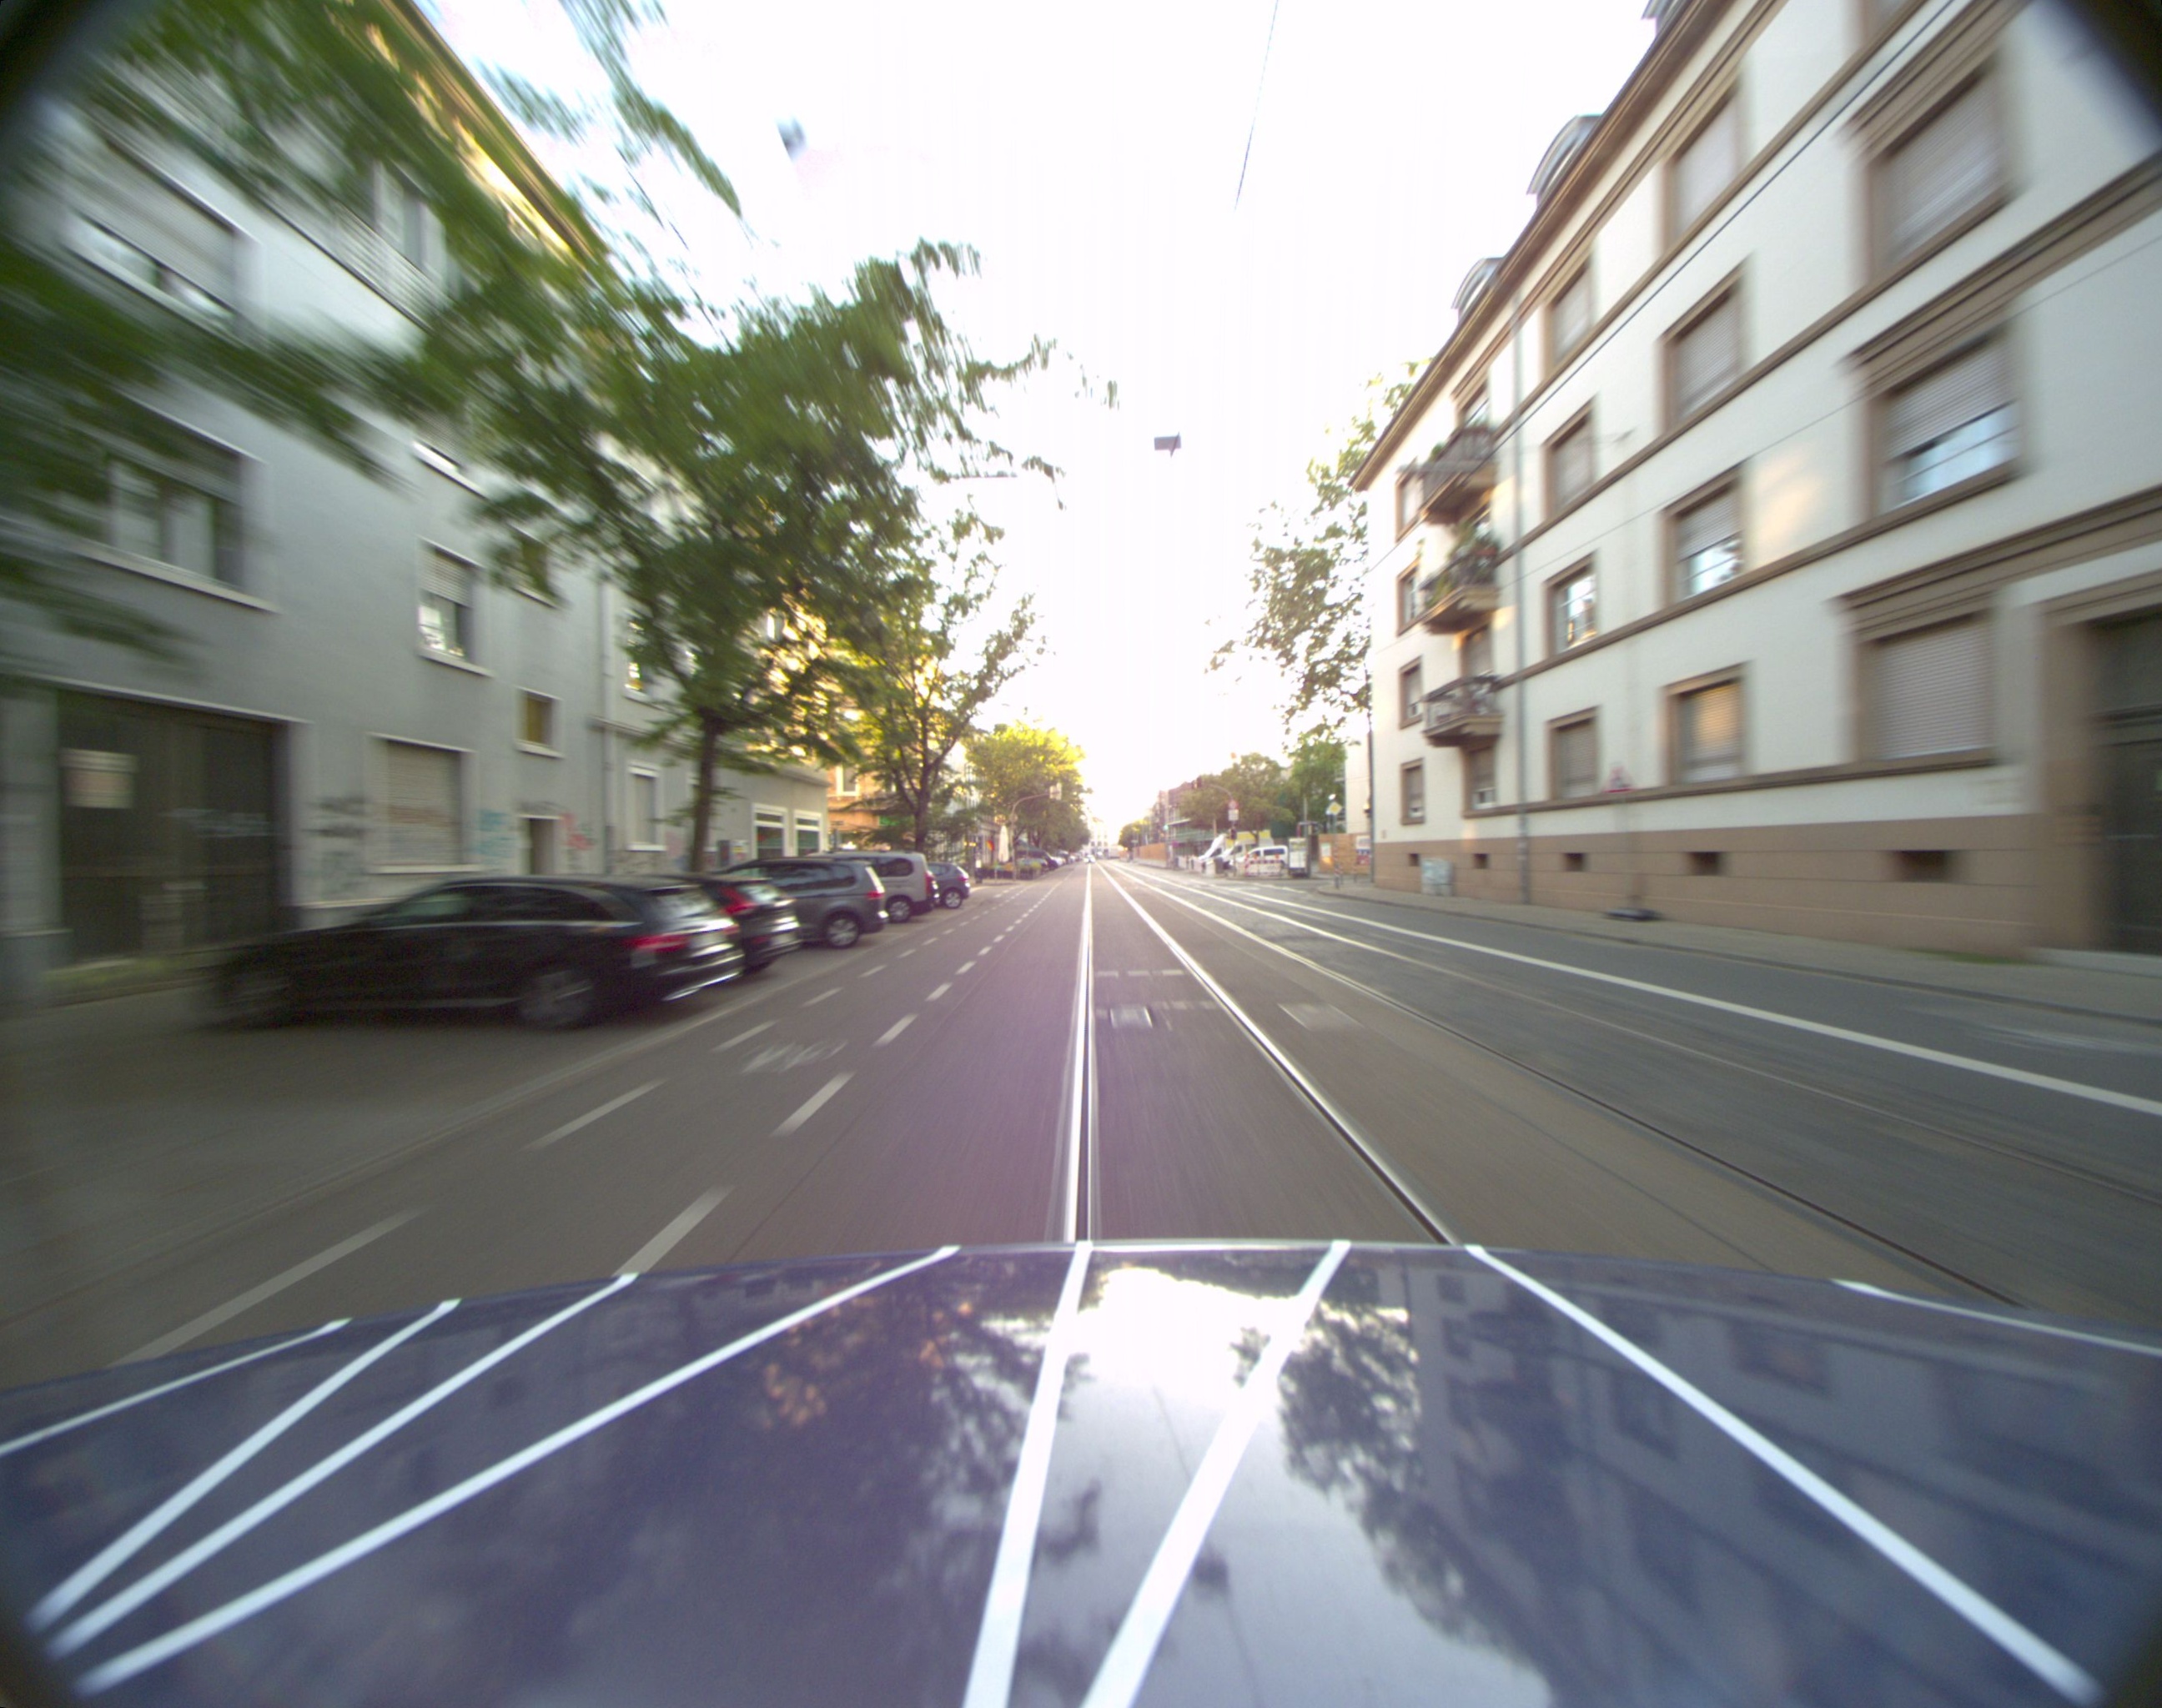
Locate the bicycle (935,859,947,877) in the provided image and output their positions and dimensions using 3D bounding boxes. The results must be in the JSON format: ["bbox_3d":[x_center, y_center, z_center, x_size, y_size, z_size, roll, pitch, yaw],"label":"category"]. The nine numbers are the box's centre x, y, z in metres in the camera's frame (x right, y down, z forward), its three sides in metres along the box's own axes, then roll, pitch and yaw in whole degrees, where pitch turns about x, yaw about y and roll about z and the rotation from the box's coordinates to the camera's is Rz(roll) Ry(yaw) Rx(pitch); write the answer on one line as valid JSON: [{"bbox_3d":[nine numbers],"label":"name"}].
[{"bbox_3d":[-9.276,0.923,50.485,0.471,1.203,1.586,-2,0,1],"label":"bicycle"}]

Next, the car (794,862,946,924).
[{"bbox_3d":[-6.023,1.052,21.703,4.004,1.557,1.717,-1,0,-20],"label":"car"}]

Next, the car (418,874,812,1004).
[{"bbox_3d":[-5.792,1.020,9.895,3.999,1.455,1.719,0,0,-6],"label":"car"}]

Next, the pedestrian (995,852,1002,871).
[{"bbox_3d":[-7.507,0.680,69.247,0.498,1.742,0.646,0,1,5],"label":"pedestrian"}]

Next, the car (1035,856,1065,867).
[{"bbox_3d":[-4.451,1.065,108.634,3.997,1.566,1.720,0,-1,-14],"label":"car"}]

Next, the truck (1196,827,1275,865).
[{"bbox_3d":[14.998,-0.765,74.095,7.077,3.408,2.565,-2,0,-2],"label":"truck"}]

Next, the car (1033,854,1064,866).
[{"bbox_3d":[-4.504,0.866,105.388,3.996,1.566,1.720,0,-1,-11],"label":"car"}]

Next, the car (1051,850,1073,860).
[{"bbox_3d":[-3.790,0.158,151.551,3.997,1.952,1.720,0,-1,-14],"label":"car"}]

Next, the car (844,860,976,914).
[{"bbox_3d":[-5.576,1.024,24.703,4.003,1.531,1.776,-1,0,-18],"label":"car"}]

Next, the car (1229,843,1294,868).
[{"bbox_3d":[14.755,0.121,62.287,4.844,1.862,2.015,-2,0,2],"label":"car"}]

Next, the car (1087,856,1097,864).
[{"bbox_3d":[2.203,1.228,154.068,1.998,1.674,4.000,-2,0,1],"label":"car"}]

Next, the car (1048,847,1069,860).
[{"bbox_3d":[-4.450,-0.024,147.868,3.991,2.551,1.722,0,-1,1],"label":"car"}]

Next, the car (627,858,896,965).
[{"bbox_3d":[-5.621,0.927,13.750,4.197,1.686,1.843,0,0,-21],"label":"car"}]

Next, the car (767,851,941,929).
[{"bbox_3d":[-5.699,0.840,19.145,4.004,1.805,1.821,0,0,-20],"label":"car"}]

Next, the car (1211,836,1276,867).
[{"bbox_3d":[14.526,-0.239,68.096,5.233,2.582,2.229,-2,0,-3],"label":"car"}]

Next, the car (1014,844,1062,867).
[{"bbox_3d":[-4.913,0.215,87.266,5.236,2.605,1.925,0,0,-16],"label":"car"}]

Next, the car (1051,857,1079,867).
[{"bbox_3d":[-2.520,1.256,115.990,3.997,1.566,1.720,0,-1,-14],"label":"car"}]

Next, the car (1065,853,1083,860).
[{"bbox_3d":[-1.635,0.611,176.703,3.991,1.681,1.722,0,-1,1],"label":"car"}]

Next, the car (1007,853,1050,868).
[{"bbox_3d":[-5.365,0.666,77.169,4.121,1.444,1.808,0,-1,-15],"label":"car"}]

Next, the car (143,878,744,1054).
[{"bbox_3d":[-5.922,0.996,7.517,4.389,1.455,1.719,0,0,-3],"label":"car"}]

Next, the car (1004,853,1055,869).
[{"bbox_3d":[-4.987,0.726,74.179,4.643,1.508,1.807,1,-1,-26],"label":"car"}]

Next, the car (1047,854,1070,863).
[{"bbox_3d":[-4.177,0.814,141.365,3.997,1.759,1.720,0,-1,-14],"label":"car"}]

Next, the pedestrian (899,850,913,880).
[{"bbox_3d":[-10.593,0.670,45.968,0.558,1.821,0.613,-1,-2,38],"label":"pedestrian"}]

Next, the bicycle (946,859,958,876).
[{"bbox_3d":[-9.301,0.972,54.805,0.471,1.203,1.783,-2,0,1],"label":"bicycle"}]

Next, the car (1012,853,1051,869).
[{"bbox_3d":[-5.259,0.797,80.944,3.992,1.689,1.722,0,-1,-1],"label":"car"}]
